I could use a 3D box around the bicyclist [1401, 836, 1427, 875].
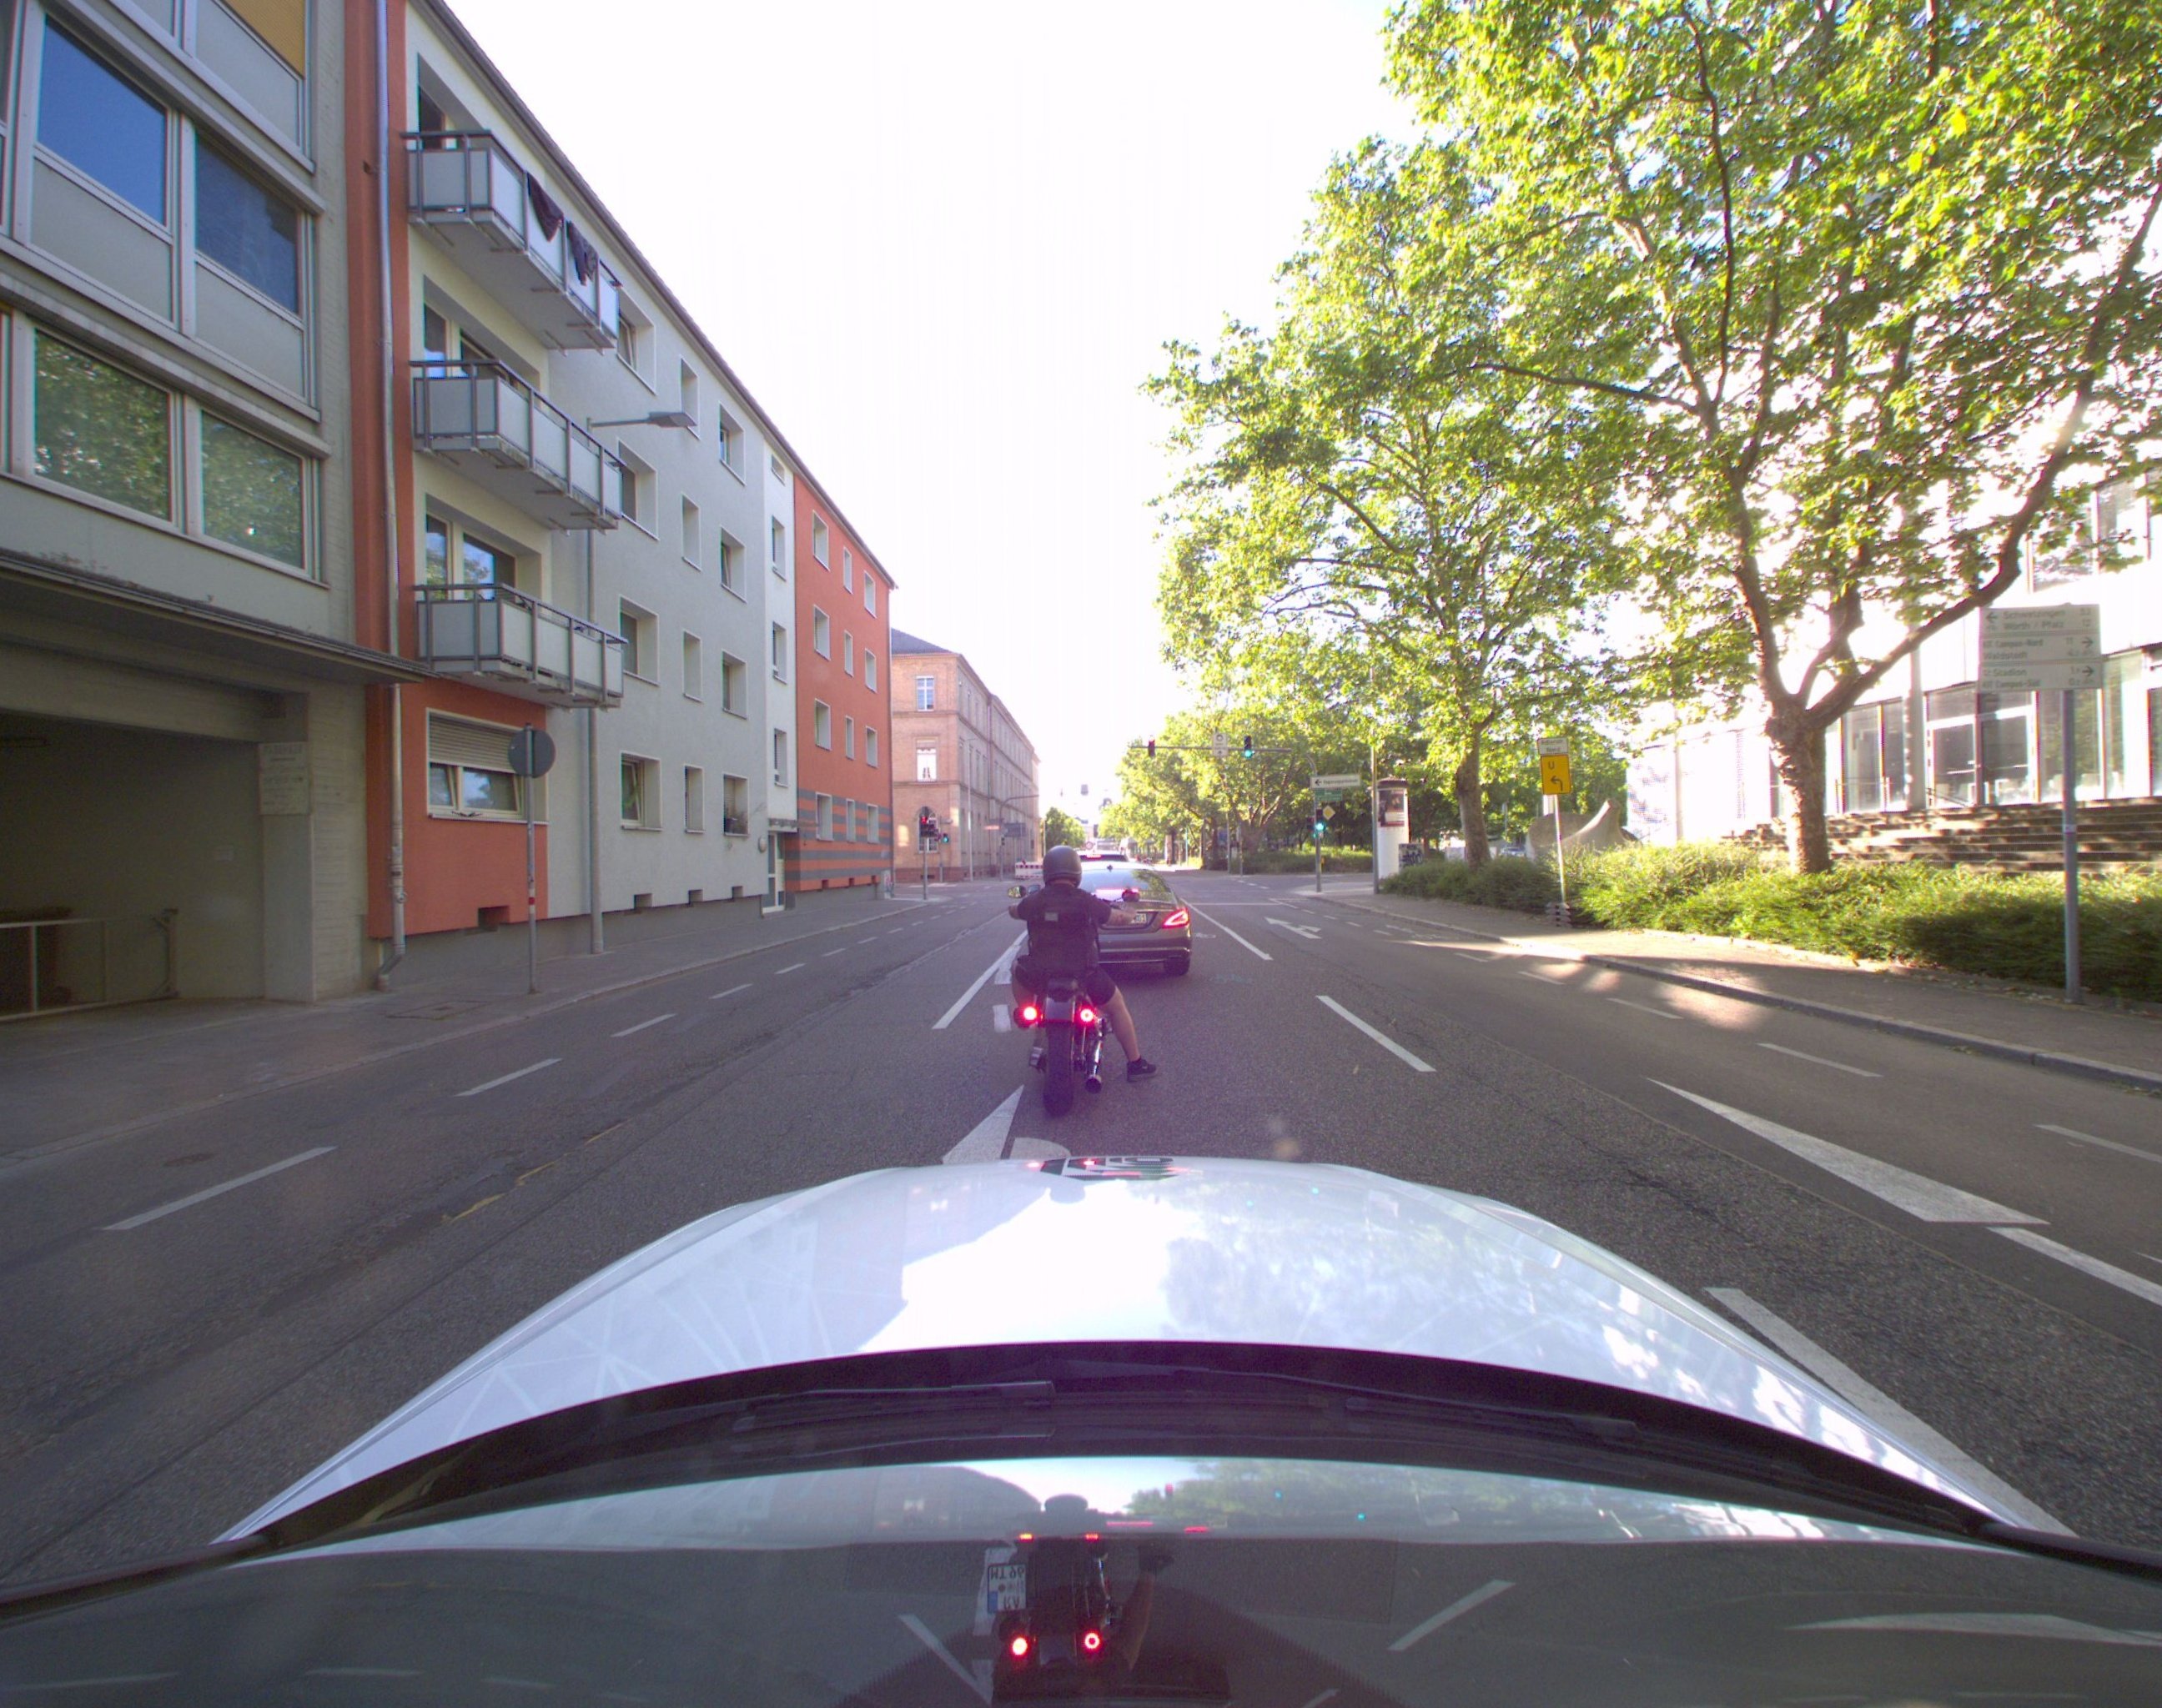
[{"bbox_3d":[13.805,0.075,33.766,0.713,1.582,0.936,0,-1,3],"label":"bicyclist"}]

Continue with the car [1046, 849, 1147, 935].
[{"bbox_3d":[0.264,0.697,16.886,1.808,1.536,3.847,-1,0,-1],"label":"car"}]

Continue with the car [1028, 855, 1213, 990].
[{"bbox_3d":[0.317,0.759,11.210,1.900,1.441,4.279,-1,0,-6],"label":"car"}]

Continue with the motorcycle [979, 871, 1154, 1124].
[{"bbox_3d":[-0.045,0.814,5.651,0.958,1.357,2.321,0,-1,2],"label":"motorcycle"}]

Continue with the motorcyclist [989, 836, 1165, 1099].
[{"bbox_3d":[-0.010,0.689,5.381,1.057,1.582,0.908,0,-1,1],"label":"motorcyclist"}]

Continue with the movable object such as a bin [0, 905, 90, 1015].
[{"bbox_3d":[-11.329,1.102,8.639,0.736,1.074,0.716,0,-1,2],"label":"movable object such as a bin"}]
